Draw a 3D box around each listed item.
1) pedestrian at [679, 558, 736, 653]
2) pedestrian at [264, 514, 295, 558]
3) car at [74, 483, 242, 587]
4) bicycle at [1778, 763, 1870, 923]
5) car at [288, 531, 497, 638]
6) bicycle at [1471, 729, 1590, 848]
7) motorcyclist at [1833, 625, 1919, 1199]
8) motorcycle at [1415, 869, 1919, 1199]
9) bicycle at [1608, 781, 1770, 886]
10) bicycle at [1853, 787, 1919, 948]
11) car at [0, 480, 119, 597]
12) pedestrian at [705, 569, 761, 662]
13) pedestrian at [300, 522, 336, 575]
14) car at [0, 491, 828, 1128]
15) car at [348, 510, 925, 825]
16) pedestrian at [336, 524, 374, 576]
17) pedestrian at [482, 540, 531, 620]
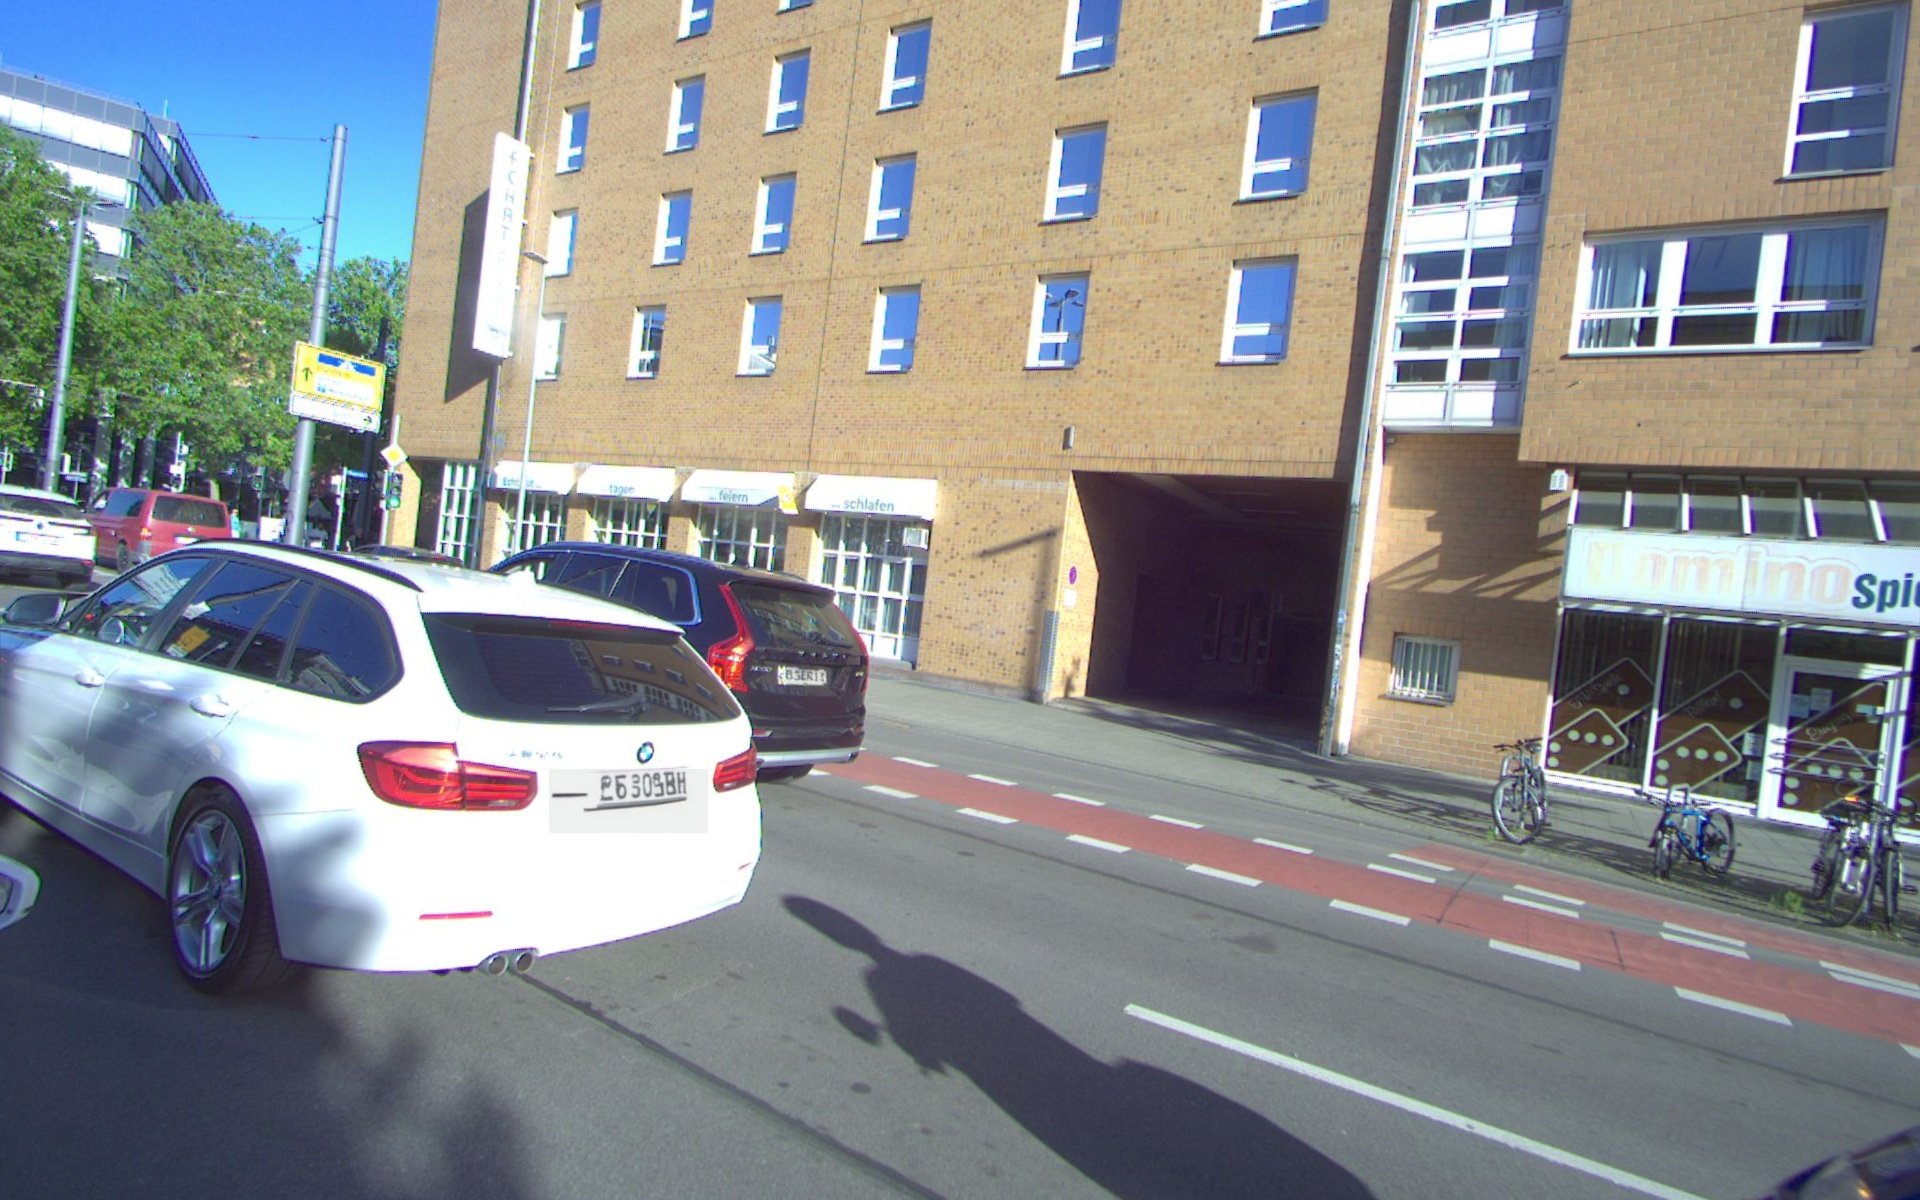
[{"bbox_3d":[-5.158,0.114,20.594,0.736,1.844,0.607,7,0,31],"label":"pedestrian"},{"bbox_3d":[-27.882,-2.618,41.229,0.511,1.680,0.698,7,-1,32],"label":"pedestrian"},{"bbox_3d":[-19.022,-1.550,23.821,3.935,1.985,1.862,7,0,33],"label":"car"},{"bbox_3d":[7.858,2.137,9.129,0.484,1.151,1.941,7,0,42],"label":"bicycle"},{"bbox_3d":[-10.906,-0.308,19.283,3.933,1.549,1.669,7,0,31],"label":"car"},{"bbox_3d":[6.321,2.026,11.101,0.617,1.088,1.940,7,0,43],"label":"bicycle"},{"bbox_3d":[2.060,0.824,1.286,1.215,1.494,0.838,7,0,31],"label":"motorcyclist"},{"bbox_3d":[1.983,1.251,1.319,2.509,1.075,0.839,7,0,31],"label":"motorcycle"},{"bbox_3d":[7.212,2.262,9.920,1.931,0.845,0.550,6,0,-32],"label":"bicycle"},{"bbox_3d":[8.223,2.285,8.770,0.547,1.088,1.941,7,0,42],"label":"bicycle"},{"bbox_3d":[-16.254,-1.173,16.919,4.306,1.659,1.854,7,-1,32],"label":"car"},{"bbox_3d":[-4.747,0.335,21.022,0.736,1.844,0.607,7,0,31],"label":"pedestrian"},{"bbox_3d":[-21.772,-1.737,34.112,0.511,1.680,0.685,7,-1,32],"label":"pedestrian"},{"bbox_3d":[-2.888,0.484,4.476,4.336,1.514,1.696,7,-2,32],"label":"car"},{"bbox_3d":[-2.816,0.426,8.434,4.556,1.779,1.979,7,-2,32],"label":"car"},{"bbox_3d":[-21.613,-1.781,35.933,0.511,1.680,0.828,7,-1,32],"label":"pedestrian"},{"bbox_3d":[-11.109,-0.492,24.661,0.736,1.844,0.607,7,0,31],"label":"pedestrian"}]
